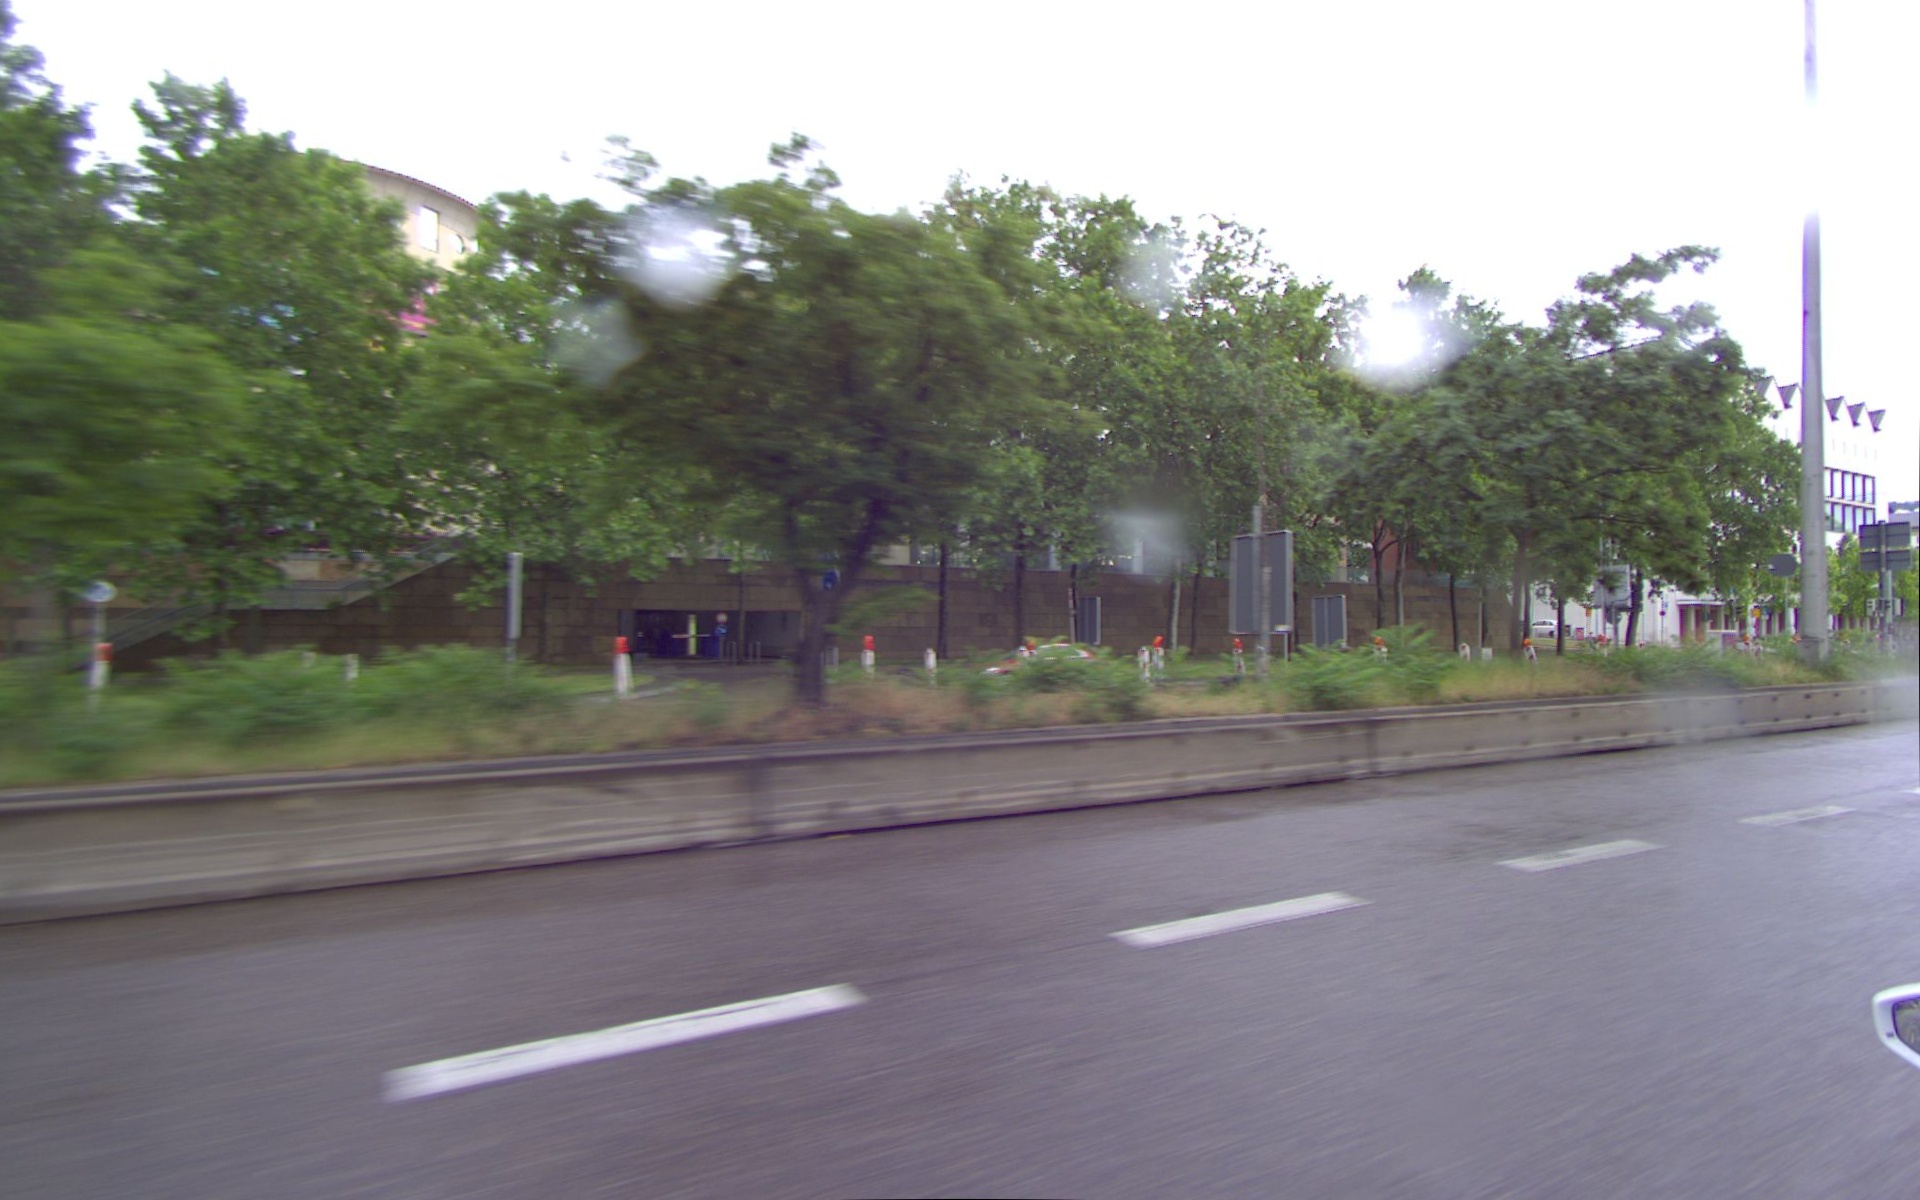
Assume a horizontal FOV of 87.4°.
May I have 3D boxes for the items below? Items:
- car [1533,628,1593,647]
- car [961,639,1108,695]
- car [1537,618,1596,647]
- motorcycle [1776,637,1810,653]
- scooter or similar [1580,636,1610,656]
[{"bbox_3d":[51.627,3.196,86.068,1.978,1.617,3.967,2,-2,-31],"label":"car"},{"bbox_3d":[2.218,1.984,29.820,3.952,1.550,1.985,2,-4,-29],"label":"car"},{"bbox_3d":[52.908,2.810,87.643,1.977,2.041,3.965,-6,7,-31],"label":"car"},{"bbox_3d":[60.472,3.273,72.922,1.809,1.169,0.426,-2,-3,34],"label":"motorcycle"},{"bbox_3d":[43.882,3.170,69.395,1.644,1.369,0.714,1,-3,-9],"label":"scooter or similar"}]
